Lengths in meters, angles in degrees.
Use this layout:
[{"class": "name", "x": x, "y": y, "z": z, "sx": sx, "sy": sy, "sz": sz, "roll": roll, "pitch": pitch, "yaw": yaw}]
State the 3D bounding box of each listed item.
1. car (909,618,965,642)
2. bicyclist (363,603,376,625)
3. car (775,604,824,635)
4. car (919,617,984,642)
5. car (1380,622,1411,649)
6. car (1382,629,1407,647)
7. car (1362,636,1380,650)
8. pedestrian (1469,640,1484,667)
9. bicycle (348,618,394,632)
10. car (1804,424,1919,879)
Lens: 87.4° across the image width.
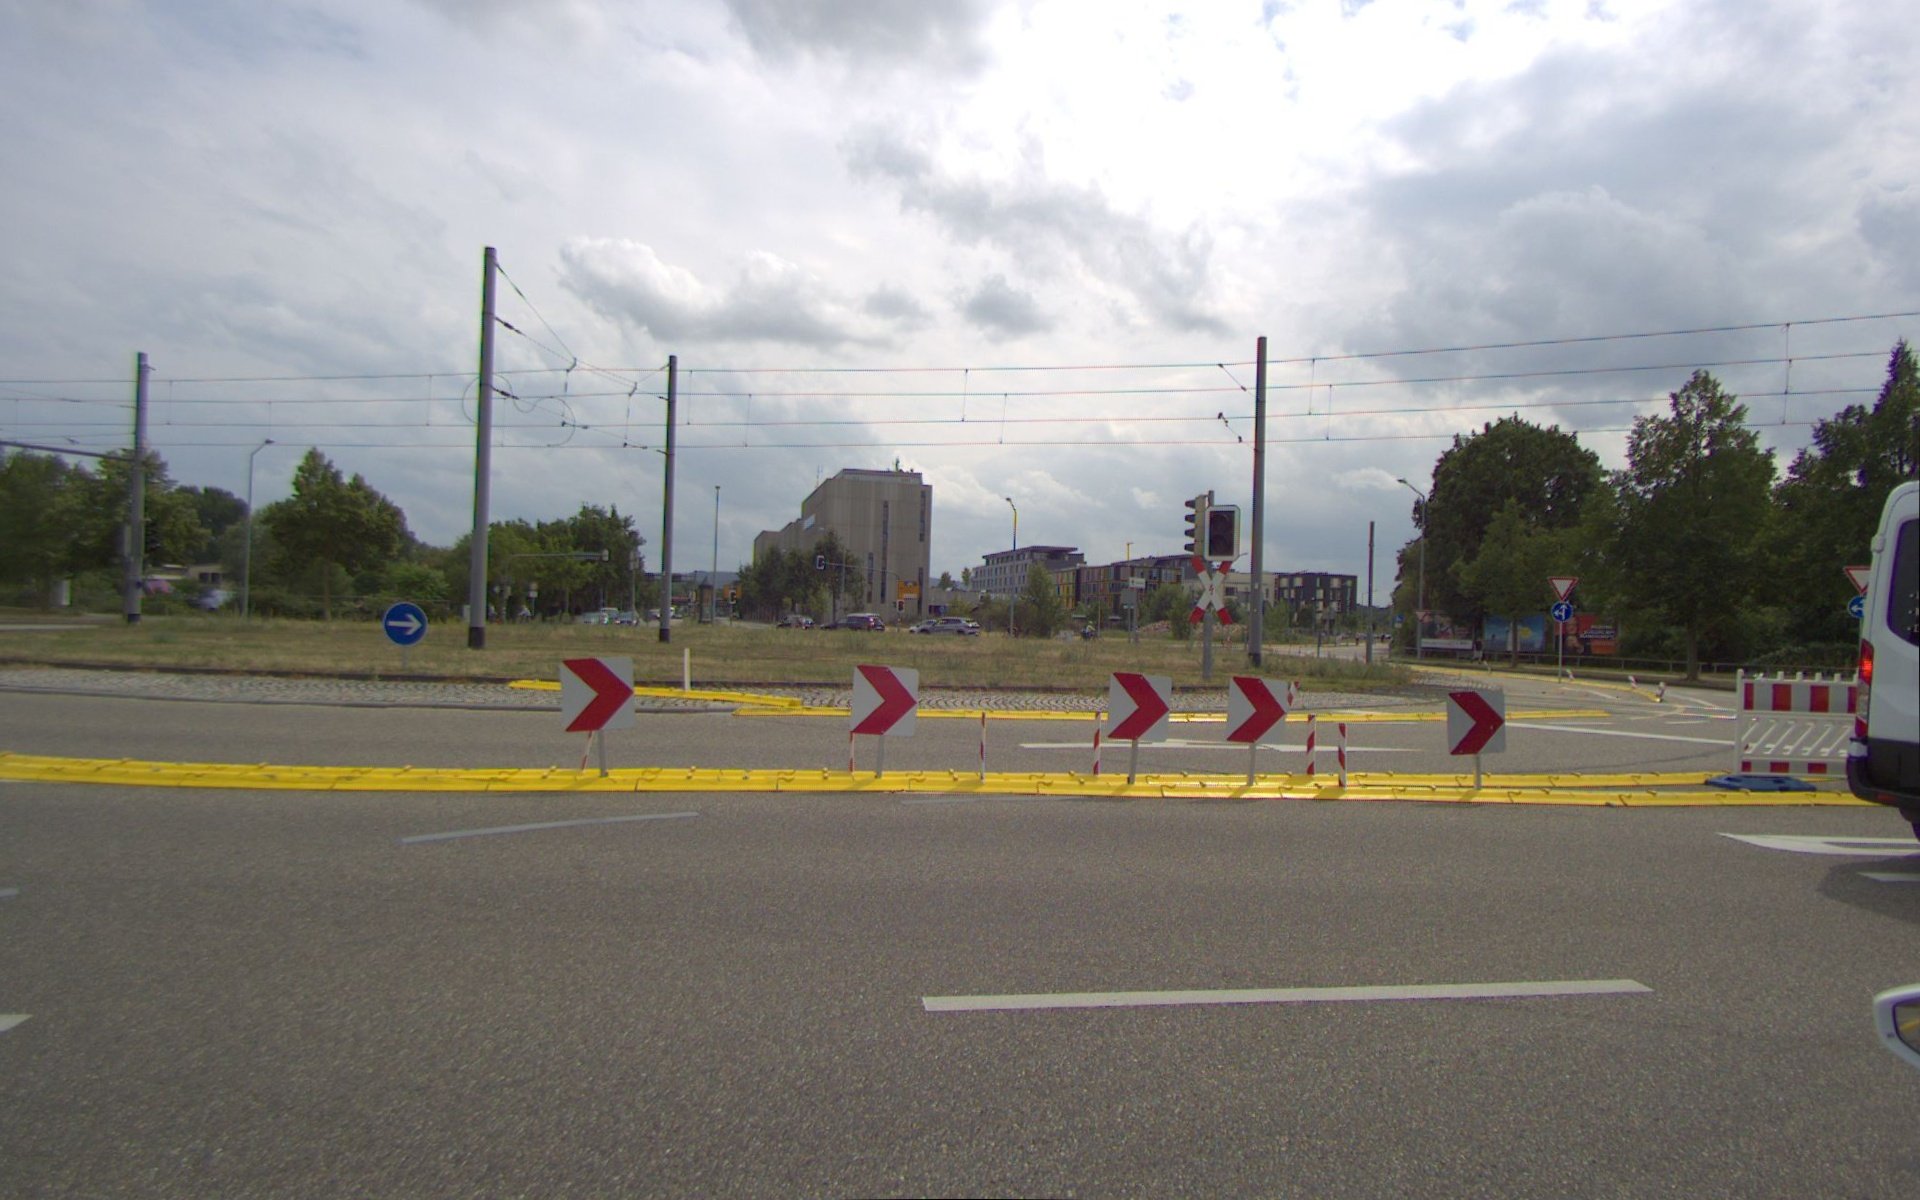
[{"class": "car", "x": -1.686, "y": 2.168, "z": 72.902, "sx": 3.946, "sy": 1.482, "sz": 1.822, "roll": 1, "pitch": -3, "yaw": 45}, {"class": "bicyclist", "x": -39.879, "y": 0.928, "z": 67.803, "sx": 0.667, "sy": 1.428, "sz": 0.856, "roll": 2, "pitch": -1, "yaw": -33}, {"class": "car", "x": -11.305, "y": 1.364, "z": 70.603, "sx": 1.979, "sy": 2.040, "sz": 3.965, "roll": 4, "pitch": -2, "yaw": -32}, {"class": "car", "x": -0.552, "y": 1.912, "z": 65.859, "sx": 3.936, "sy": 1.483, "sz": 1.827, "roll": 1, "pitch": -2, "yaw": 37}, {"class": "car", "x": 35.326, "y": 2.921, "z": 81.495, "sx": 1.960, "sy": 2.040, "sz": 4.001, "roll": 3, "pitch": -2, "yaw": 19}, {"class": "car", "x": 51.668, "y": 4.535, "z": 119.509, "sx": 1.966, "sy": 1.873, "sz": 3.990, "roll": 2, "pitch": -2, "yaw": 34}, {"class": "car", "x": 59.831, "y": 6.296, "z": 146.100, "sx": 1.963, "sy": 1.873, "sz": 3.996, "roll": 2, "pitch": -2, "yaw": 28}, {"class": "pedestrian", "x": 31.478, "y": 3.265, "z": 61.230, "sx": 0.661, "sy": 1.615, "sz": 0.447, "roll": 2, "pitch": -1, "yaw": -18}, {"class": "bicycle", "x": -39.767, "y": 1.664, "z": 67.876, "sx": 2.631, "sy": 0.866, "sz": 0.856, "roll": 2, "pitch": -1, "yaw": -33}, {"class": "car", "x": 8.538, "y": 0.411, "z": 6.490, "sx": 5.543, "sy": 2.733, "sz": 2.125, "roll": 2, "pitch": -1, "yaw": -18}]
